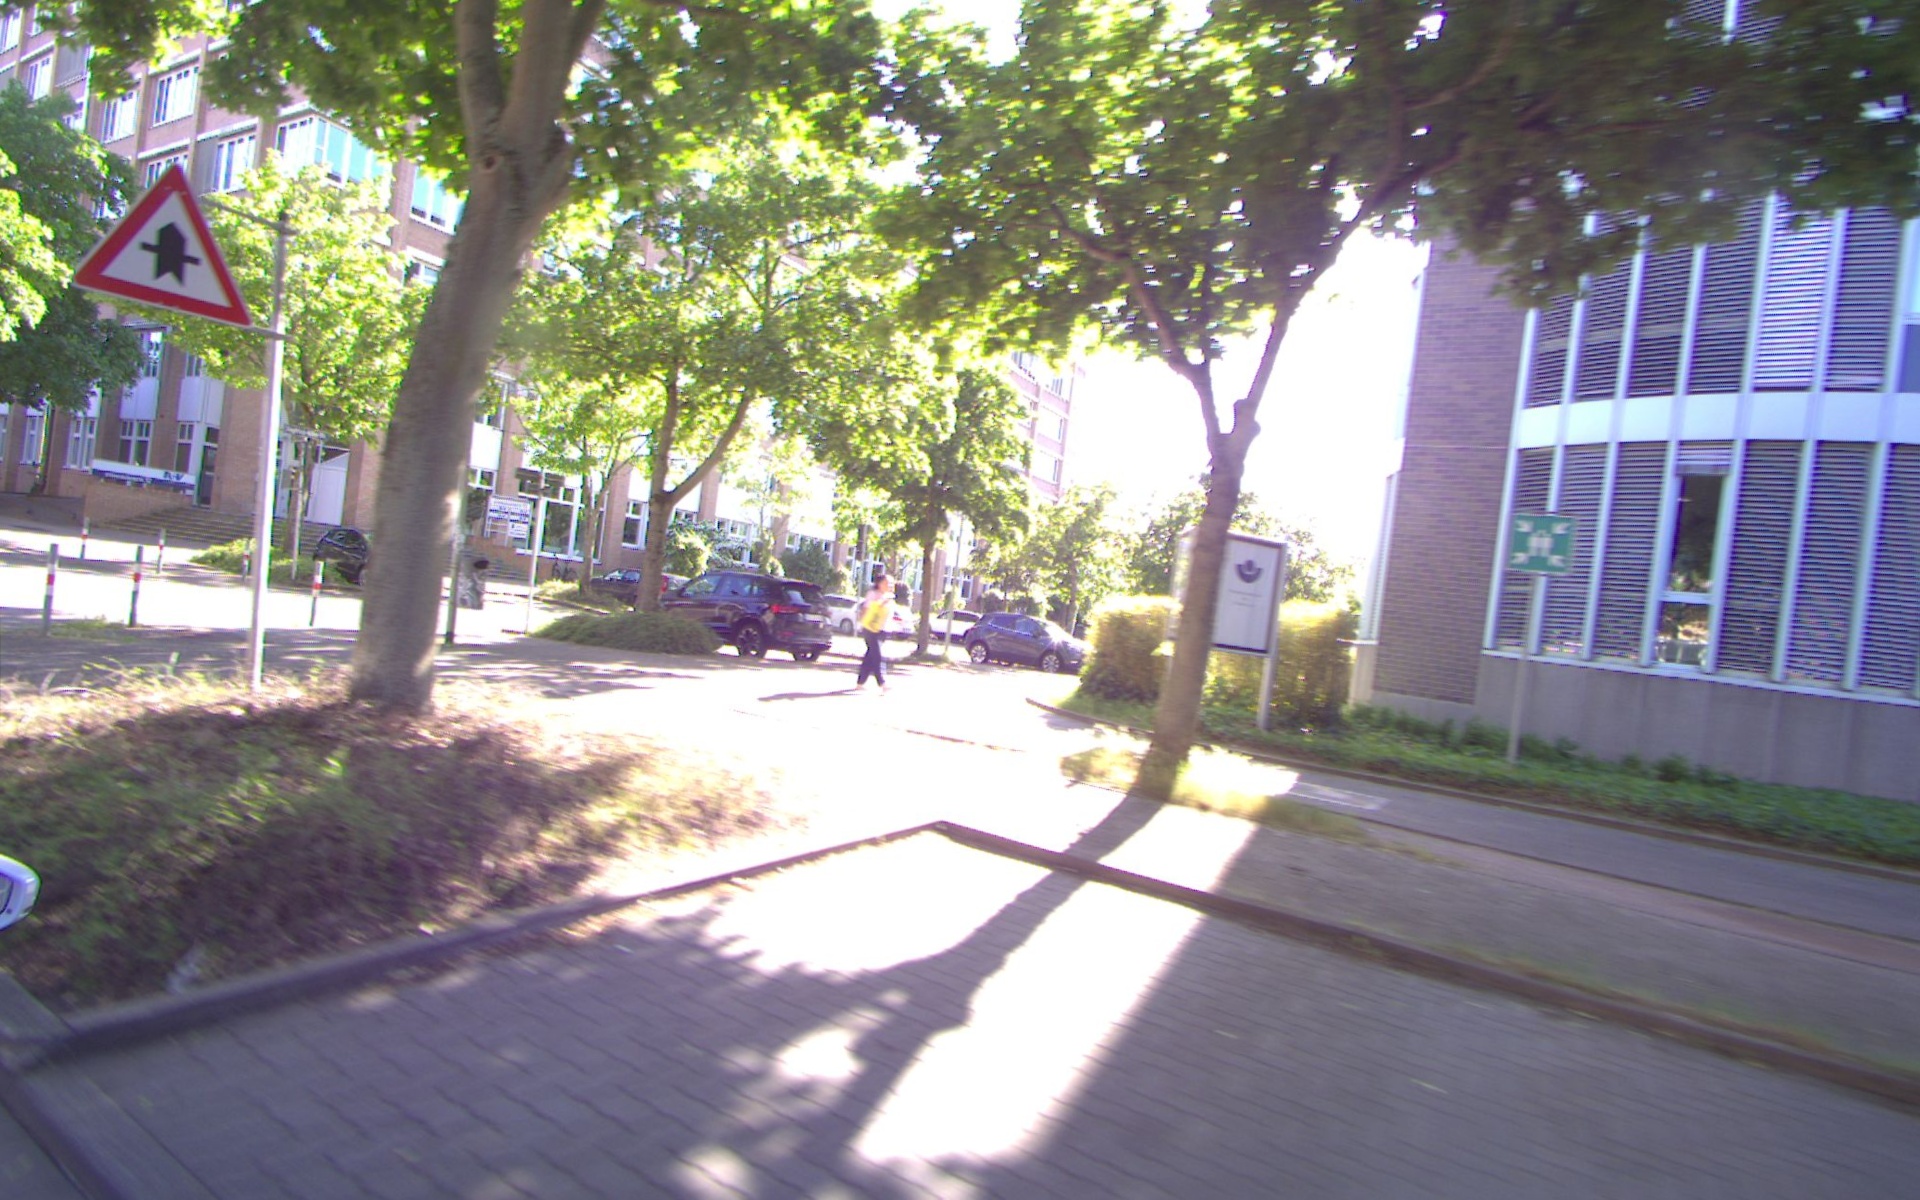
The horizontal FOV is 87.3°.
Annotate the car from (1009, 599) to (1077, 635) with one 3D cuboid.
[{"bbox_3d":[5.195,1.068,63.106,3.844,1.444,1.538,10,-4,32],"label":"car"}]

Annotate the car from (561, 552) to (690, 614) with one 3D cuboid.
[{"bbox_3d":[-10.894,-0.573,32.626,4.204,1.479,1.690,7,0,35],"label":"car"}]

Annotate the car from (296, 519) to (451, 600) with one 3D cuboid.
[{"bbox_3d":[-14.867,-1.032,25.447,3.852,1.480,1.654,8,0,32],"label":"car"}]

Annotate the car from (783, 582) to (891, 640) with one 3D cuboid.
[{"bbox_3d":[-5.137,0.464,41.895,4.045,1.745,1.920,9,1,33],"label":"car"}]

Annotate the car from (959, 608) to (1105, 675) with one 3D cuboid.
[{"bbox_3d":[2.106,1.216,29.866,3.941,1.603,1.699,4,-3,38],"label":"car"}]

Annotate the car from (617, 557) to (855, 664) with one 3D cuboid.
[{"bbox_3d":[-4.354,0.183,19.381,4.292,1.584,1.742,5,-2,29],"label":"car"}]

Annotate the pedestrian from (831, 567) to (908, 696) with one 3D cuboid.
[{"bbox_3d":[-1.190,0.417,13.289,0.636,1.602,0.539,8,1,22],"label":"pedestrian"}]

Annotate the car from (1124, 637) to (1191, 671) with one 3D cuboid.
[{"bbox_3d":[12.950,3.563,66.077,3.844,1.520,1.533,10,1,32],"label":"car"}]

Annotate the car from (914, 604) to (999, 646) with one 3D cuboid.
[{"bbox_3d":[-0.203,1.225,49.663,3.844,1.520,1.533,8,0,32],"label":"car"}]
